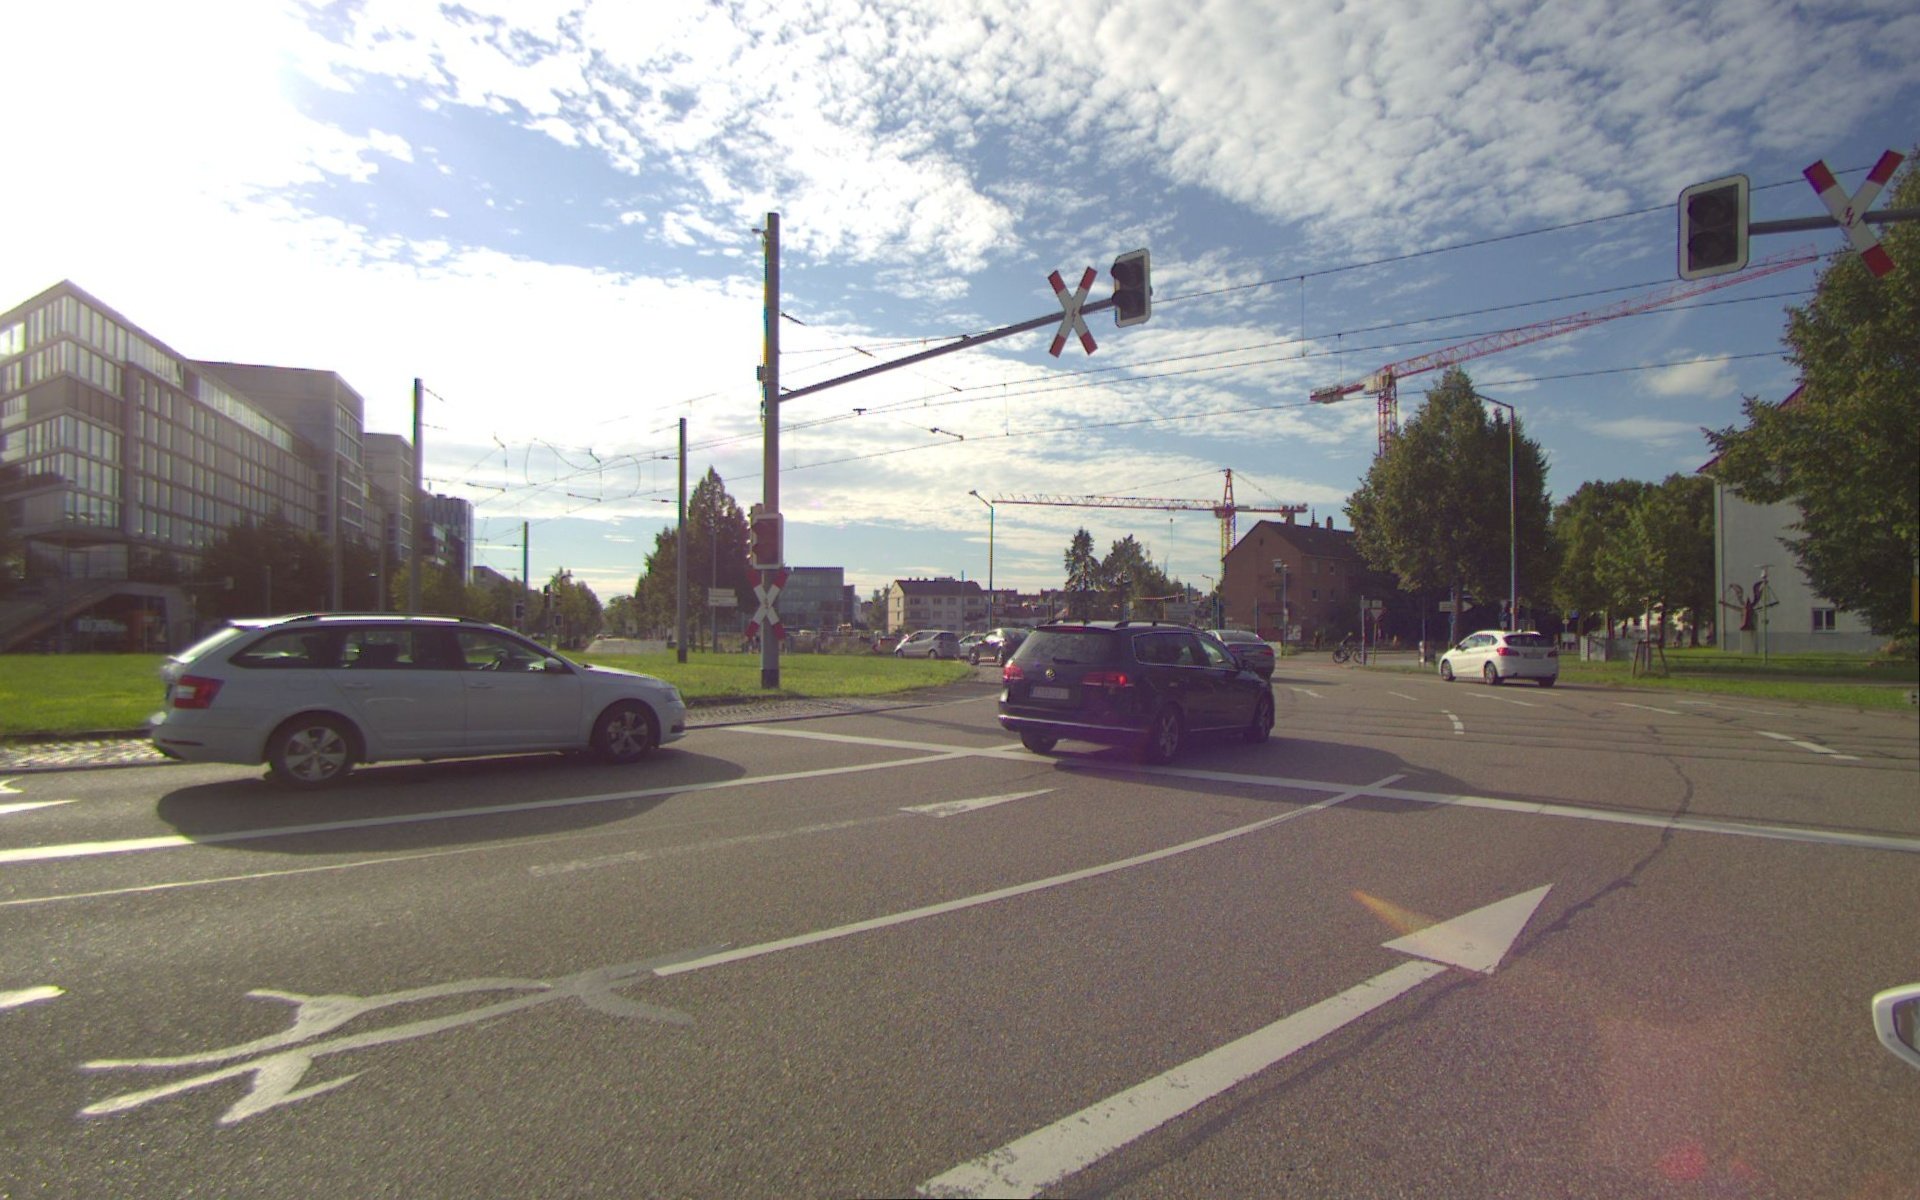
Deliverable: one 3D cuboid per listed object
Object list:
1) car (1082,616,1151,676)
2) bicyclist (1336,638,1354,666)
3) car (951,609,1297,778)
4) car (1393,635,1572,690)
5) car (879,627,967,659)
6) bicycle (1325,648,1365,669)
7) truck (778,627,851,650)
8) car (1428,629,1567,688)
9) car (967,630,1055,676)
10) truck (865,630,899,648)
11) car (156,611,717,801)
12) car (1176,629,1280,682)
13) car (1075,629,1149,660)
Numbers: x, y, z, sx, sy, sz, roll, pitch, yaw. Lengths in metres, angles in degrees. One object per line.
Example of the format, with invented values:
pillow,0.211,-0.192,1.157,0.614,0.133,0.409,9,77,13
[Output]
car,4.504,1.303,29.363,1.738,1.593,4.070,1,-1,5
bicyclist,22.133,3.005,57.809,0.941,1.595,0.772,-1,-2,20
car,2.174,0.948,12.002,1.969,1.587,4.823,0,-1,39
car,16.007,1.871,30.890,4.593,1.450,1.892,0,-2,41
car,-1.909,2.170,51.028,4.387,1.497,1.848,0,-2,40
bicycle,22.139,3.349,57.795,2.108,1.152,0.772,-1,-2,21
truck,-16.604,4.425,114.591,7.744,2.601,3.059,1,-2,-22
car,16.061,1.701,30.310,1.820,1.593,4.456,1,-1,0
car,1.909,2.023,39.121,1.970,1.561,3.981,3,-1,-21
truck,-10.241,5.069,131.099,2.303,2.358,6.415,1,-2,-24
car,-4.929,0.863,9.909,4.595,1.464,1.837,1,-1,-37
car,8.201,1.651,31.189,1.820,1.464,4.714,1,-1,-2
car,9.838,2.870,65.014,4.610,1.928,1.885,2,-2,-33
